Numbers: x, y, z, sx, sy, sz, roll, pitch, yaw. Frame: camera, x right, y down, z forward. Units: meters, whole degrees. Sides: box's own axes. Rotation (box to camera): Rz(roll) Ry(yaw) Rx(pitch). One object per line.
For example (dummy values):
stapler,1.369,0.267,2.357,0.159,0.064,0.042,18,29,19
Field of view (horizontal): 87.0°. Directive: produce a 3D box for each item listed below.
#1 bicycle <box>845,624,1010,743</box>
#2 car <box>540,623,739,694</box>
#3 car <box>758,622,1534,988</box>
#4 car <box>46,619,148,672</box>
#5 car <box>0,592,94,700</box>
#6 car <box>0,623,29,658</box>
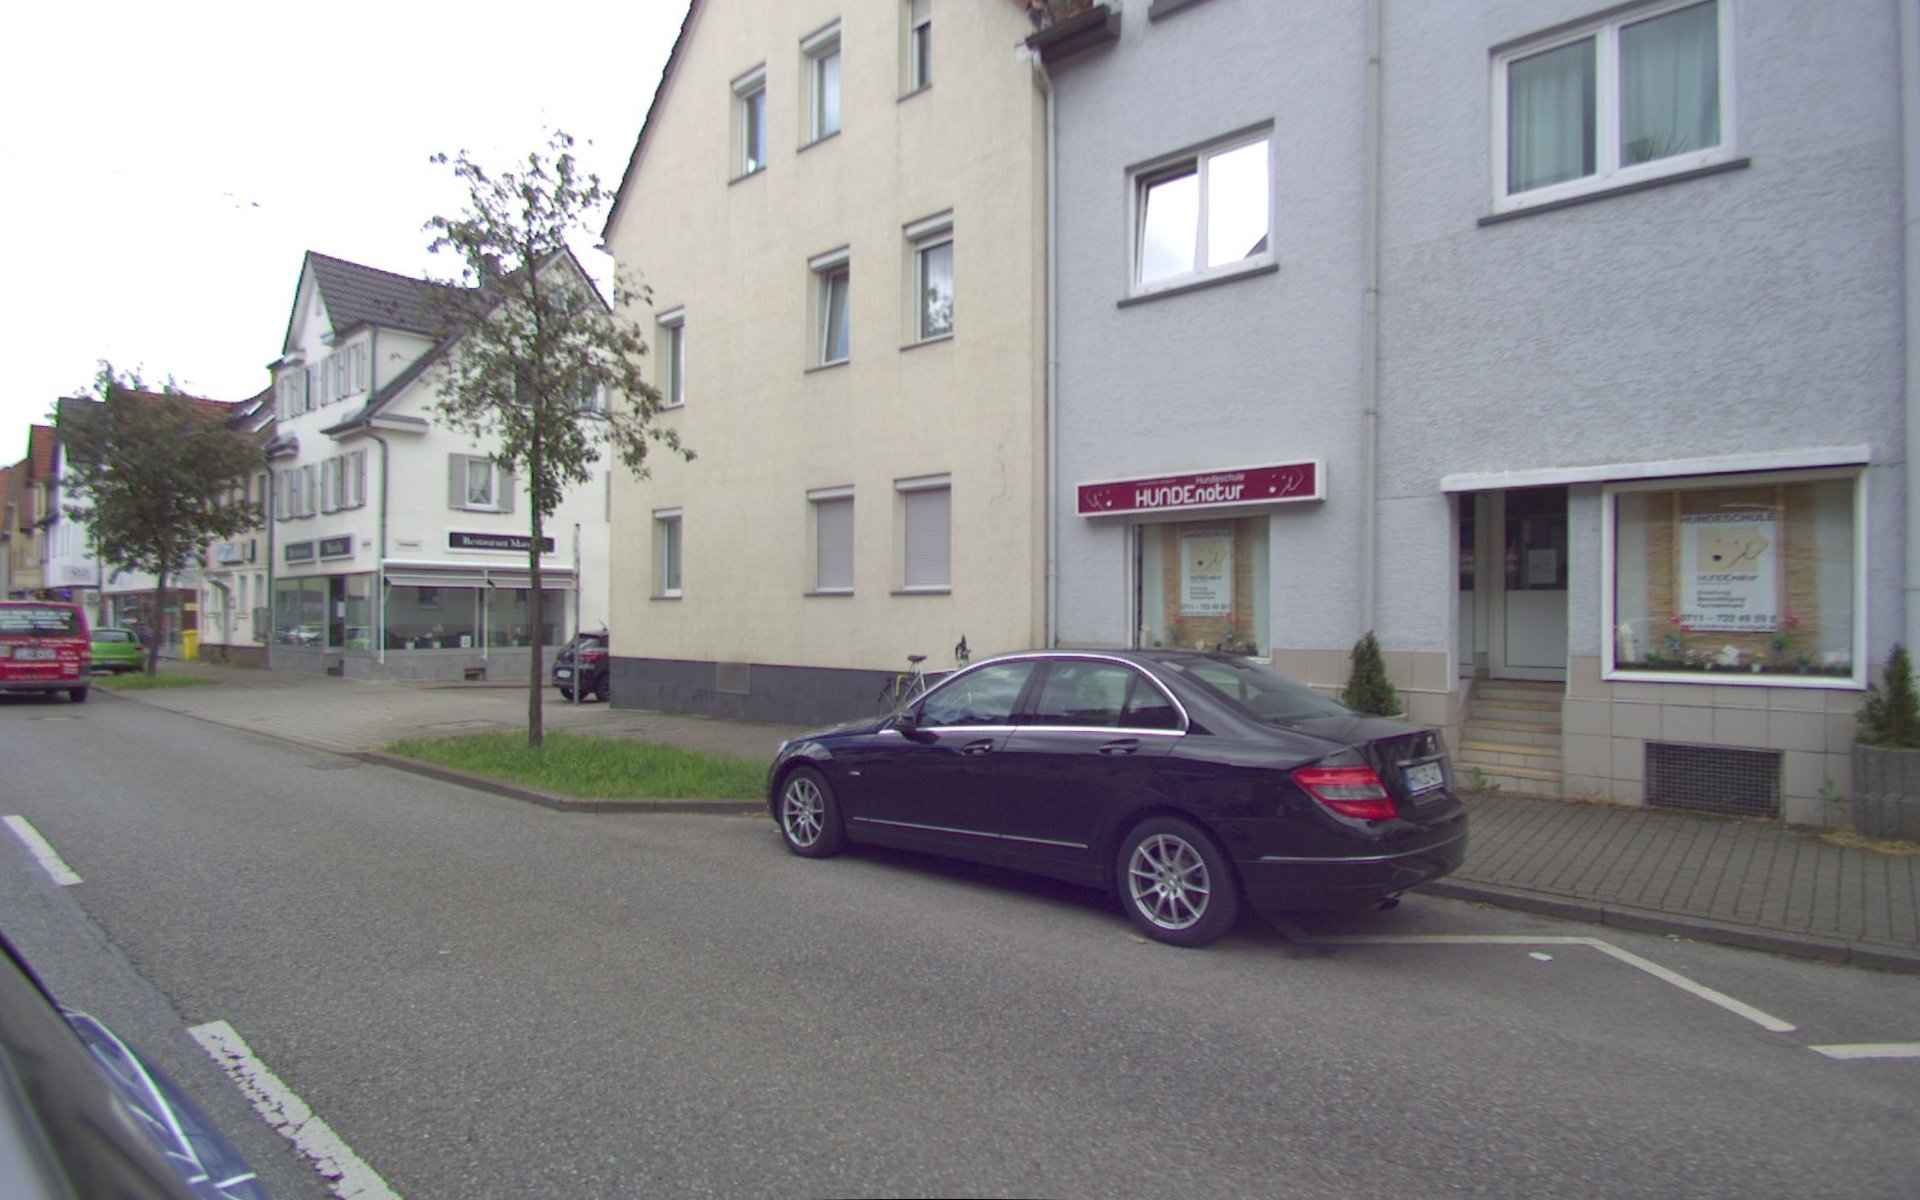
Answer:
bicycle,-0.397,0.877,11.250,2.023,1.205,0.509,-1,0,41
car,-6.305,1.125,20.147,1.610,1.198,3.445,-3,-2,41
car,0.832,0.856,6.126,4.339,1.428,1.769,-1,-2,41
car,-25.420,1.295,29.772,3.898,1.407,1.693,-1,0,40
car,-18.865,0.873,20.085,4.488,1.958,1.831,-1,-2,40
car,-41.611,1.721,43.652,3.898,1.407,1.693,-1,0,40
